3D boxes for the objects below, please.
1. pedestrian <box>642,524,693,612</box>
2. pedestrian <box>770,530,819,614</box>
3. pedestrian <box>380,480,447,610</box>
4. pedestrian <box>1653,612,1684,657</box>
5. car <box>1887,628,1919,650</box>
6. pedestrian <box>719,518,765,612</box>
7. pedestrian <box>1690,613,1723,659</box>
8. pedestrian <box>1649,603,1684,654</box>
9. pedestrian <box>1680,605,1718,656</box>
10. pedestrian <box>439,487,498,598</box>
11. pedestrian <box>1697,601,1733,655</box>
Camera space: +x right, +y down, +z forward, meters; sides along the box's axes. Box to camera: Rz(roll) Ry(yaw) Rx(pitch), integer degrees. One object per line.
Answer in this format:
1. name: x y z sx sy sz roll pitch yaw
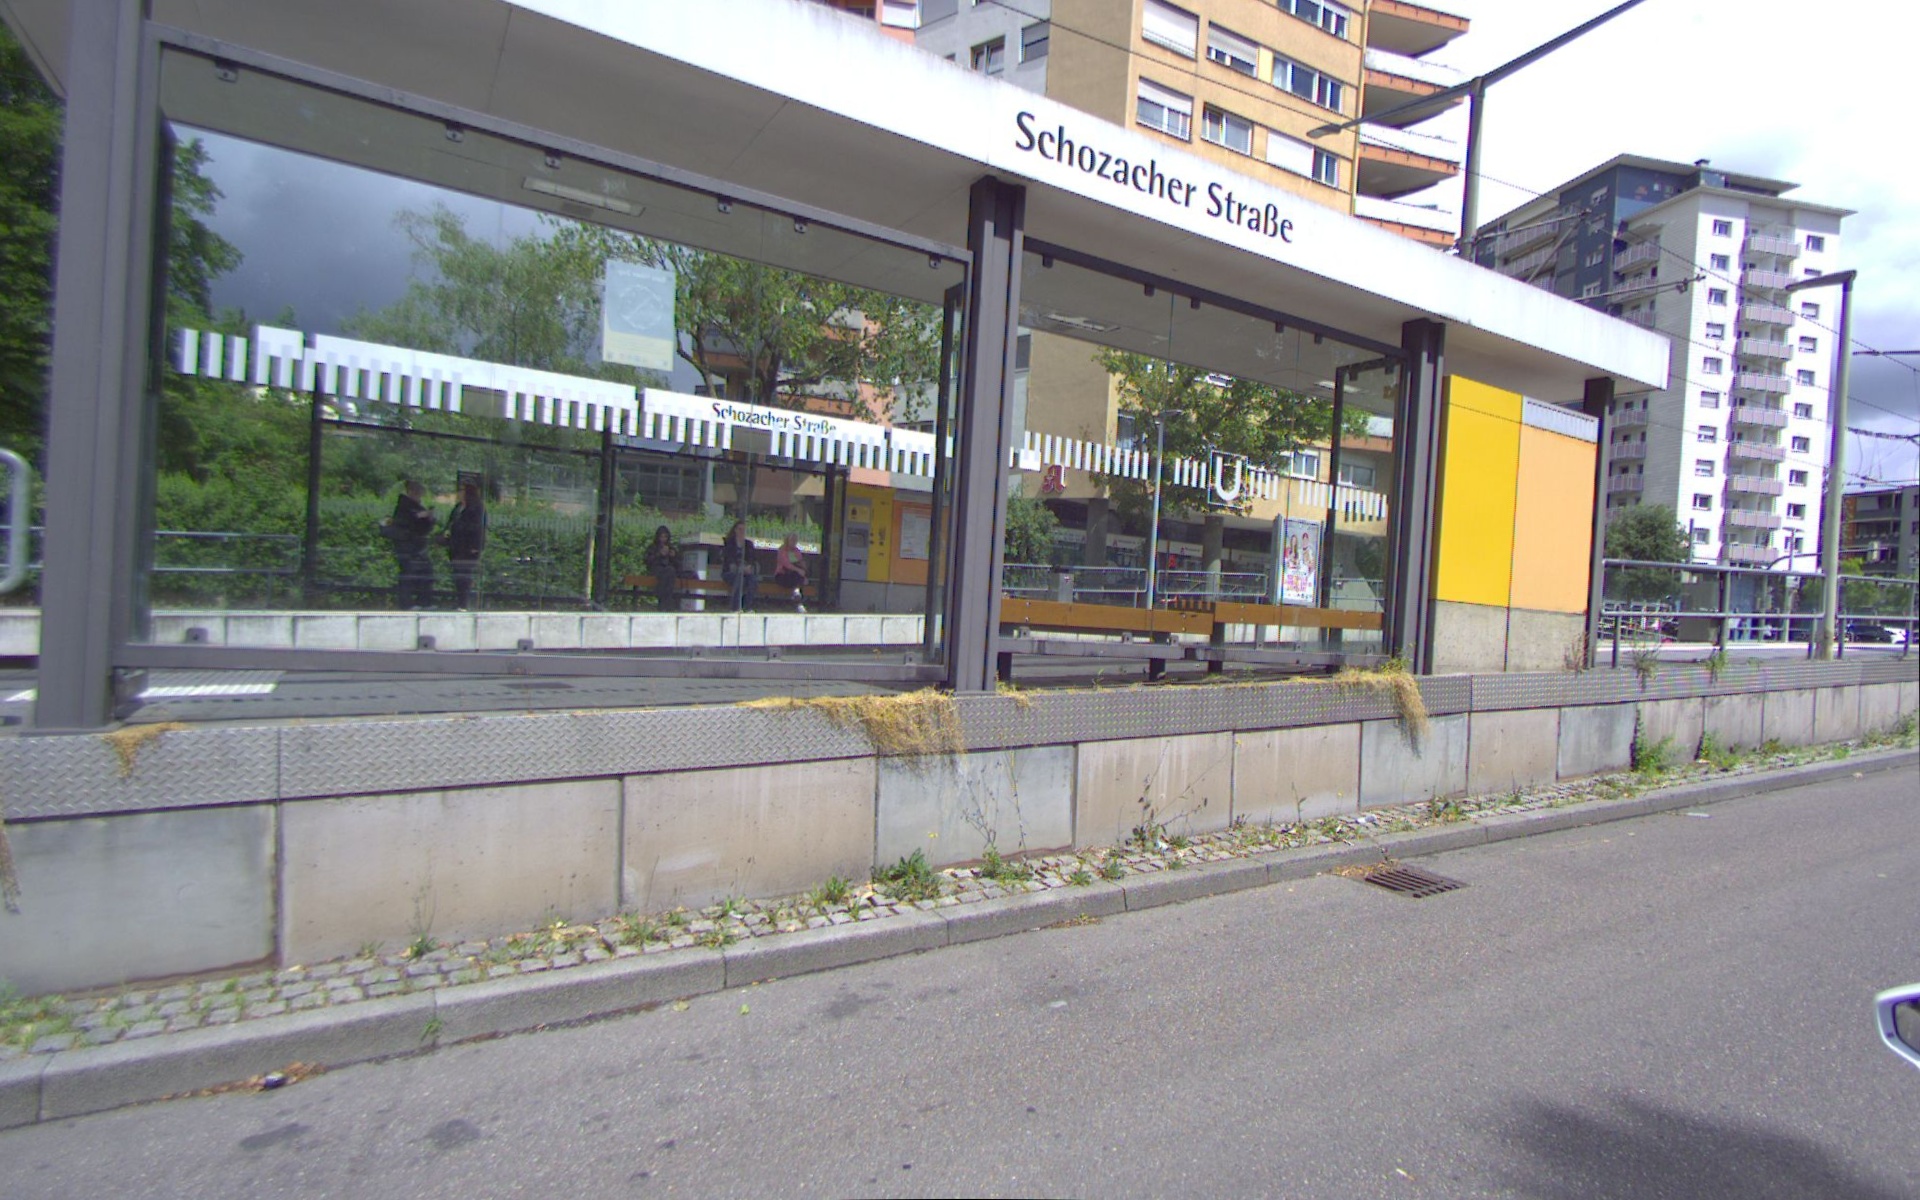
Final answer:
1. pedestrian: -4.308 -0.458 14.807 0.539 1.253 0.515 1 0 -42
2. pedestrian: -2.560 -0.427 15.507 0.511 1.253 0.739 1 0 -30
3. pedestrian: -7.173 -0.702 13.186 0.512 1.666 0.564 1 0 27
4. pedestrian: 22.122 1.080 31.364 0.543 1.360 0.669 1 0 12
5. car: 65.816 2.682 68.553 1.602 1.482 3.576 1 0 -38
6. pedestrian: -3.310 -0.520 15.224 0.501 1.387 0.640 1 0 -30
7. pedestrian: 22.777 1.095 30.652 0.677 1.361 0.859 1 1 29
8. pedestrian: 22.648 0.904 32.217 0.765 1.604 0.605 1 0 -28
9. pedestrian: 23.987 0.972 32.605 0.618 1.599 0.851 1 1 -38
10. pedestrian: -6.490 -0.737 13.259 0.517 1.397 0.537 4 -2 -39
11. pedestrian: 24.967 0.920 33.232 0.818 1.729 0.676 1 0 -32
